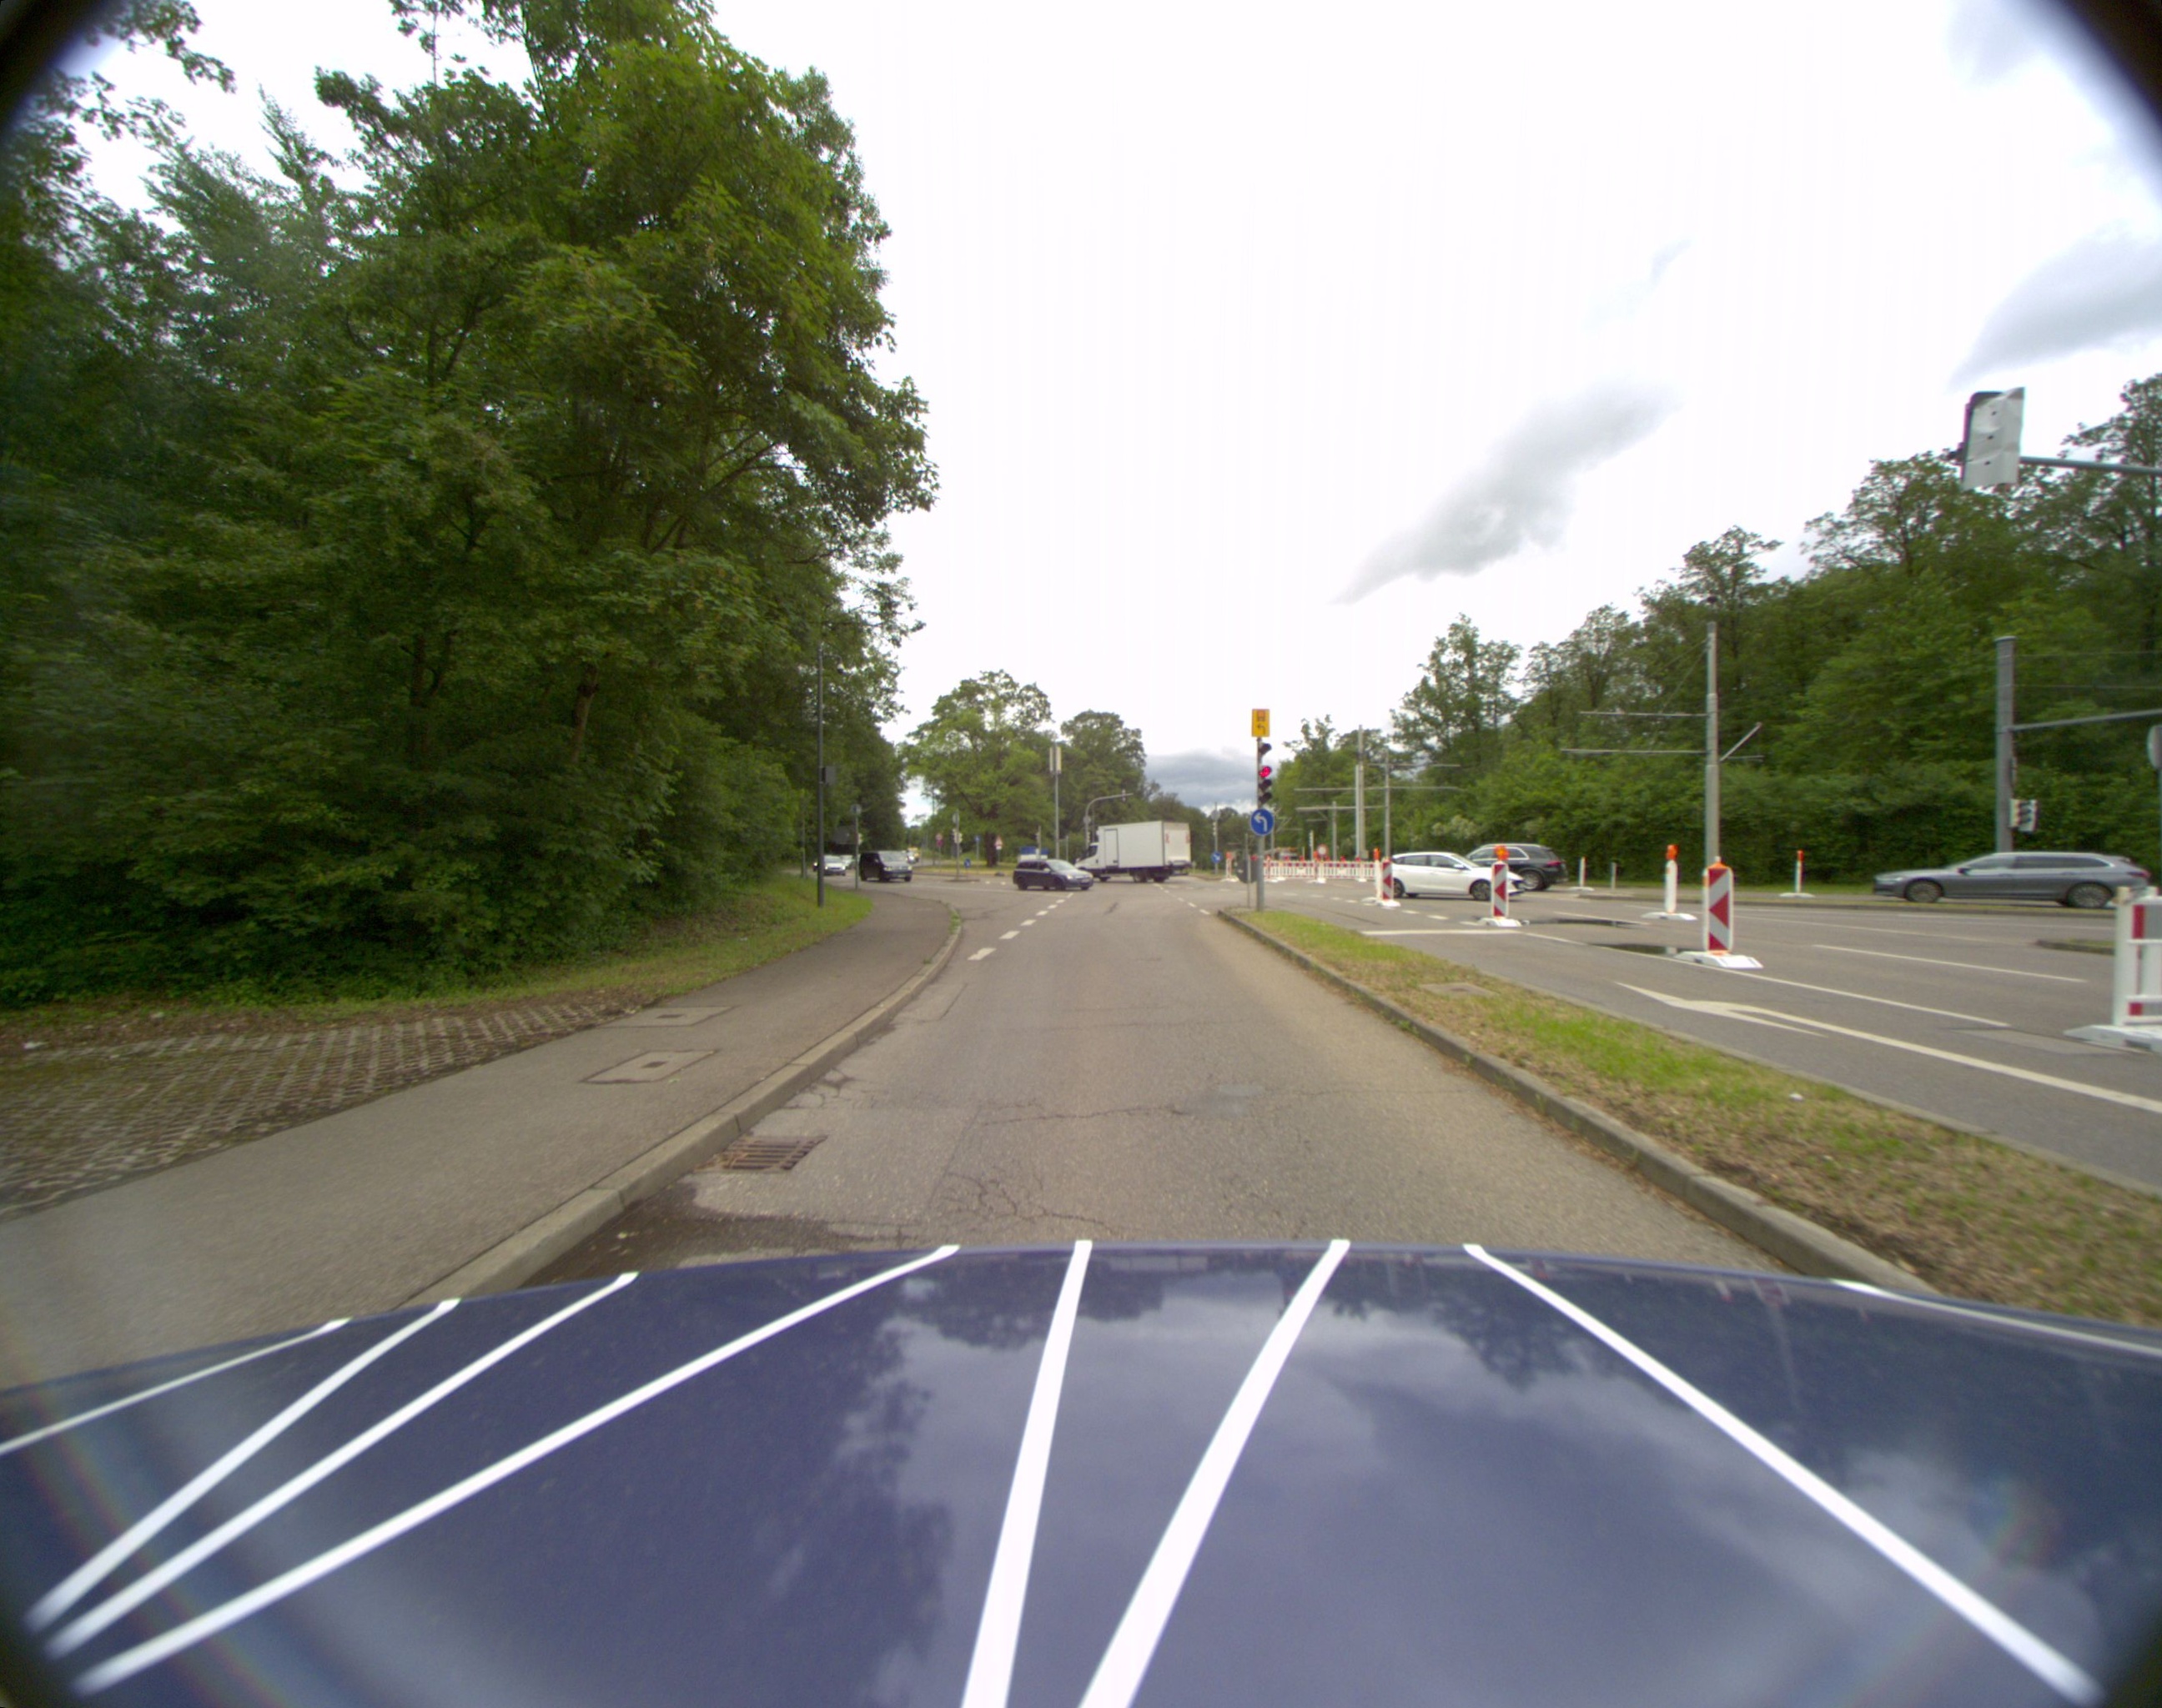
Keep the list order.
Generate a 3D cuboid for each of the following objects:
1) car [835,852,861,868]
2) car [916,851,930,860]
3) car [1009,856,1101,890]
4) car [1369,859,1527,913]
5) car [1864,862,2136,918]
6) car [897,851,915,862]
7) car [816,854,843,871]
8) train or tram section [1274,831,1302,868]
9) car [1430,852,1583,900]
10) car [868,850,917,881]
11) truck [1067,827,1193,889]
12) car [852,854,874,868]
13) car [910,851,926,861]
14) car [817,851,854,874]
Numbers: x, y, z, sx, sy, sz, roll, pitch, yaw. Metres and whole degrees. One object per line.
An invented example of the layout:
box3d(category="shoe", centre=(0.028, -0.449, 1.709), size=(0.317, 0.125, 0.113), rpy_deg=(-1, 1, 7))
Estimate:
box3d(category="car", centre=(-23.550, 0.601, 76.939), size=(1.779, 1.491, 3.870), rpy_deg=(1, 0, -6))
box3d(category="car", centre=(-27.278, 0.273, 131.051), size=(1.779, 1.491, 3.872), rpy_deg=(1, 0, -3))
box3d(category="car", centre=(-1.270, 0.858, 35.533), size=(1.808, 1.470, 4.457), rpy_deg=(1, 0, -43))
box3d(category="car", centre=(11.222, 0.933, 23.408), size=(4.061, 1.470, 1.659), rpy_deg=(1, 0, 43))
box3d(category="car", centre=(25.432, 0.923, 21.369), size=(4.676, 1.353, 1.972), rpy_deg=(0, 0, 45))
box3d(category="car", centre=(-24.695, 0.360, 107.334), size=(1.779, 1.491, 3.872), rpy_deg=(1, 0, -3))
box3d(category="car", centre=(-22.463, 0.726, 67.888), size=(1.780, 1.491, 3.869), rpy_deg=(1, 0, -11))
box3d(category="train or tram section", centre=(28.937, -0.811, 106.989), size=(2.951, 4.624, 18.559), rpy_deg=(1, 2, 13))
box3d(category="car", centre=(16.489, 0.781, 29.660), size=(1.972, 1.740, 4.832), rpy_deg=(0, 0, -43))
box3d(category="car", centre=(-11.950, 0.675, 48.038), size=(1.995, 1.862, 4.521), rpy_deg=(1, 0, -27))
box3d(category="truck", centre=(2.616, 0.179, 42.604), size=(7.134, 3.205, 2.462), rpy_deg=(1, 0, 44))
box3d(category="car", centre=(-24.730, 0.805, 86.218), size=(1.779, 1.491, 3.870), rpy_deg=(1, 0, -6))
box3d(category="car", centre=(-24.756, 0.352, 115.320), size=(1.779, 1.491, 3.872), rpy_deg=(1, 0, -3))
box3d(category="car", centre=(-18.669, 0.641, 57.699), size=(1.797, 1.664, 3.982), rpy_deg=(0, -1, -30))
